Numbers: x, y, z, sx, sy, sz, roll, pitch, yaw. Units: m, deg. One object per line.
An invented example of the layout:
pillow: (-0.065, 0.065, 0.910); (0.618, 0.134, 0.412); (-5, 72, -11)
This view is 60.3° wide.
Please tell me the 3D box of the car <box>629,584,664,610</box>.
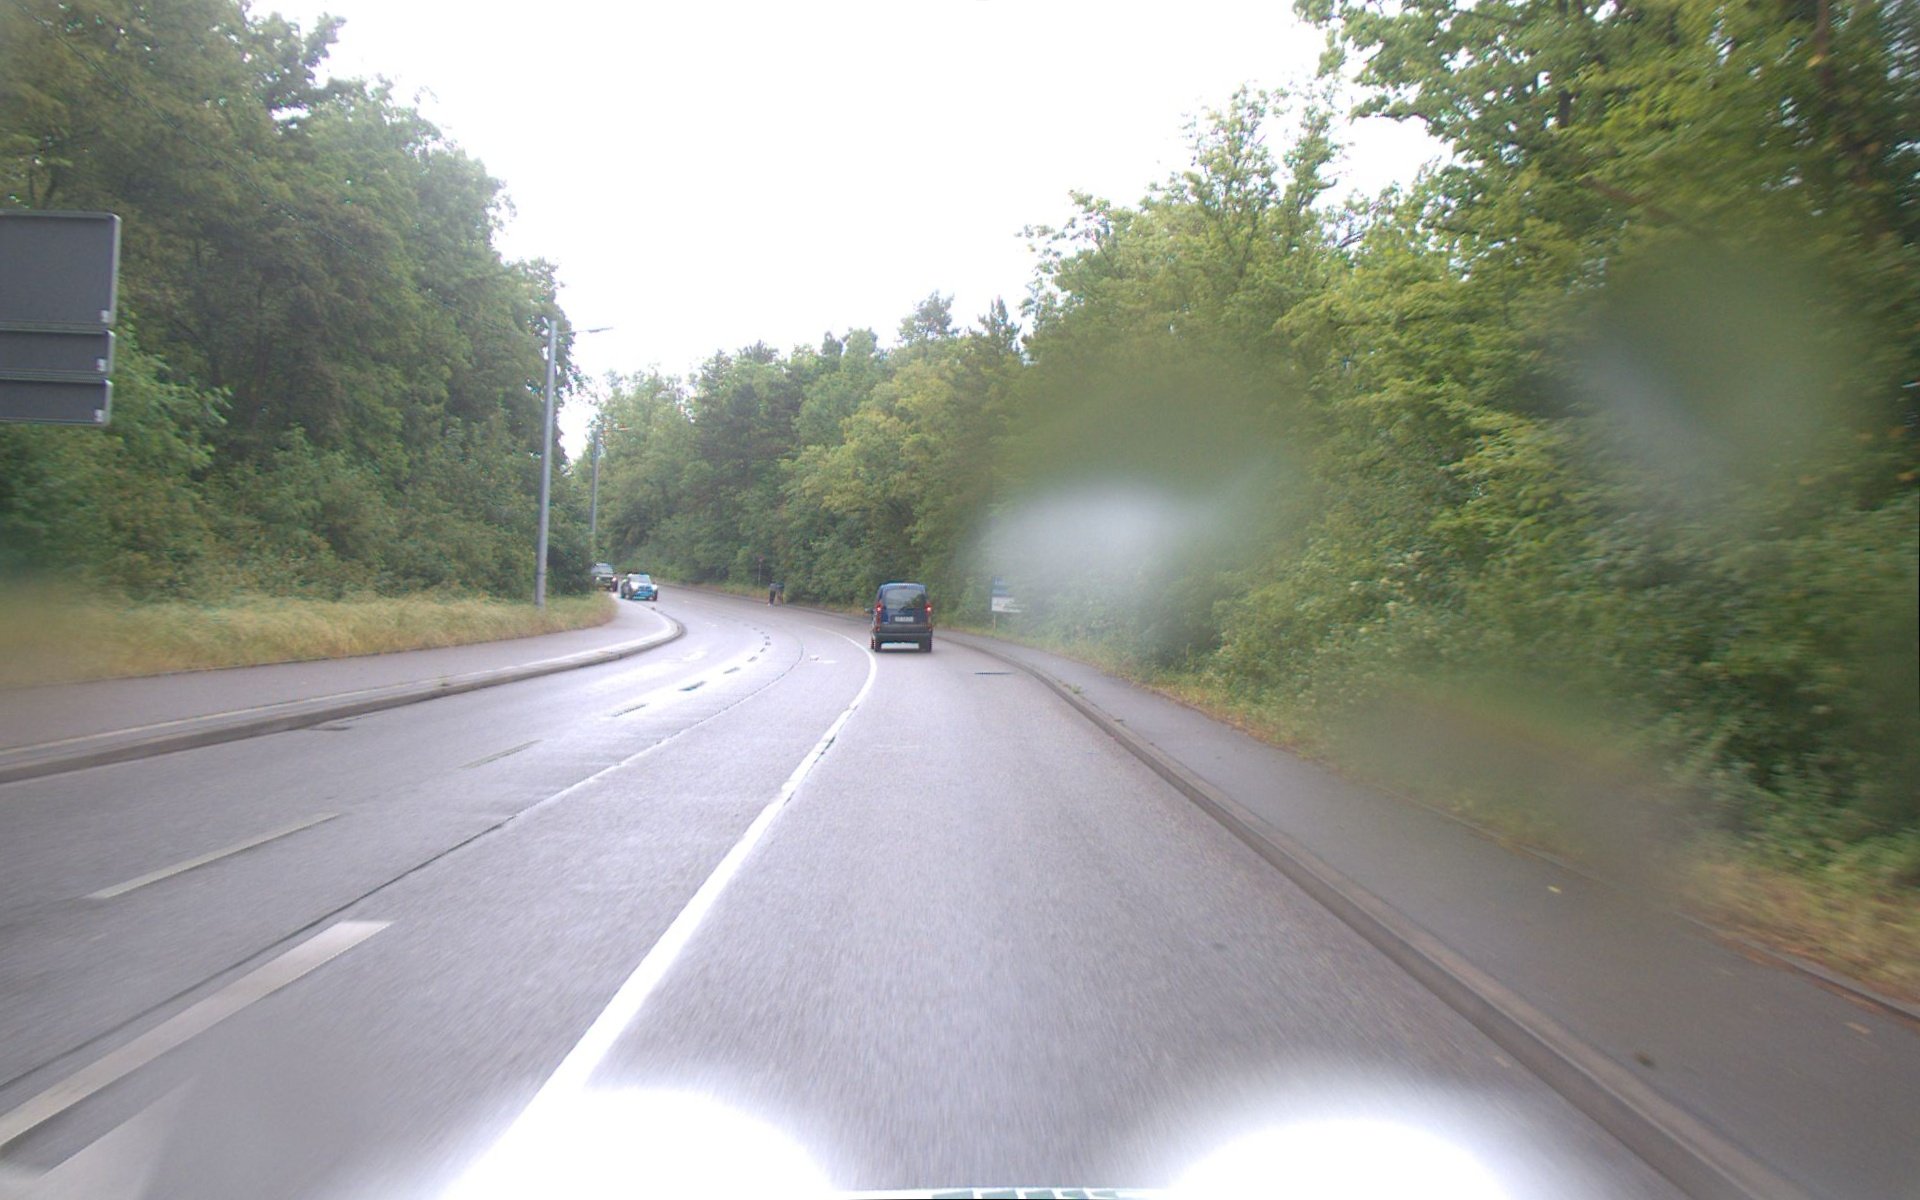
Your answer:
car: (-21.107, -0.203, 111.136); (1.780, 1.622, 4.496); (1, 0, -17)

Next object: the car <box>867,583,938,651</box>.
car: (-1.655, 0.438, 46.638); (1.791, 1.825, 3.996); (0, 1, -5)

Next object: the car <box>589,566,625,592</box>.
car: (-26.424, -1.549, 123.808); (1.802, 1.875, 4.678); (1, 0, -23)
